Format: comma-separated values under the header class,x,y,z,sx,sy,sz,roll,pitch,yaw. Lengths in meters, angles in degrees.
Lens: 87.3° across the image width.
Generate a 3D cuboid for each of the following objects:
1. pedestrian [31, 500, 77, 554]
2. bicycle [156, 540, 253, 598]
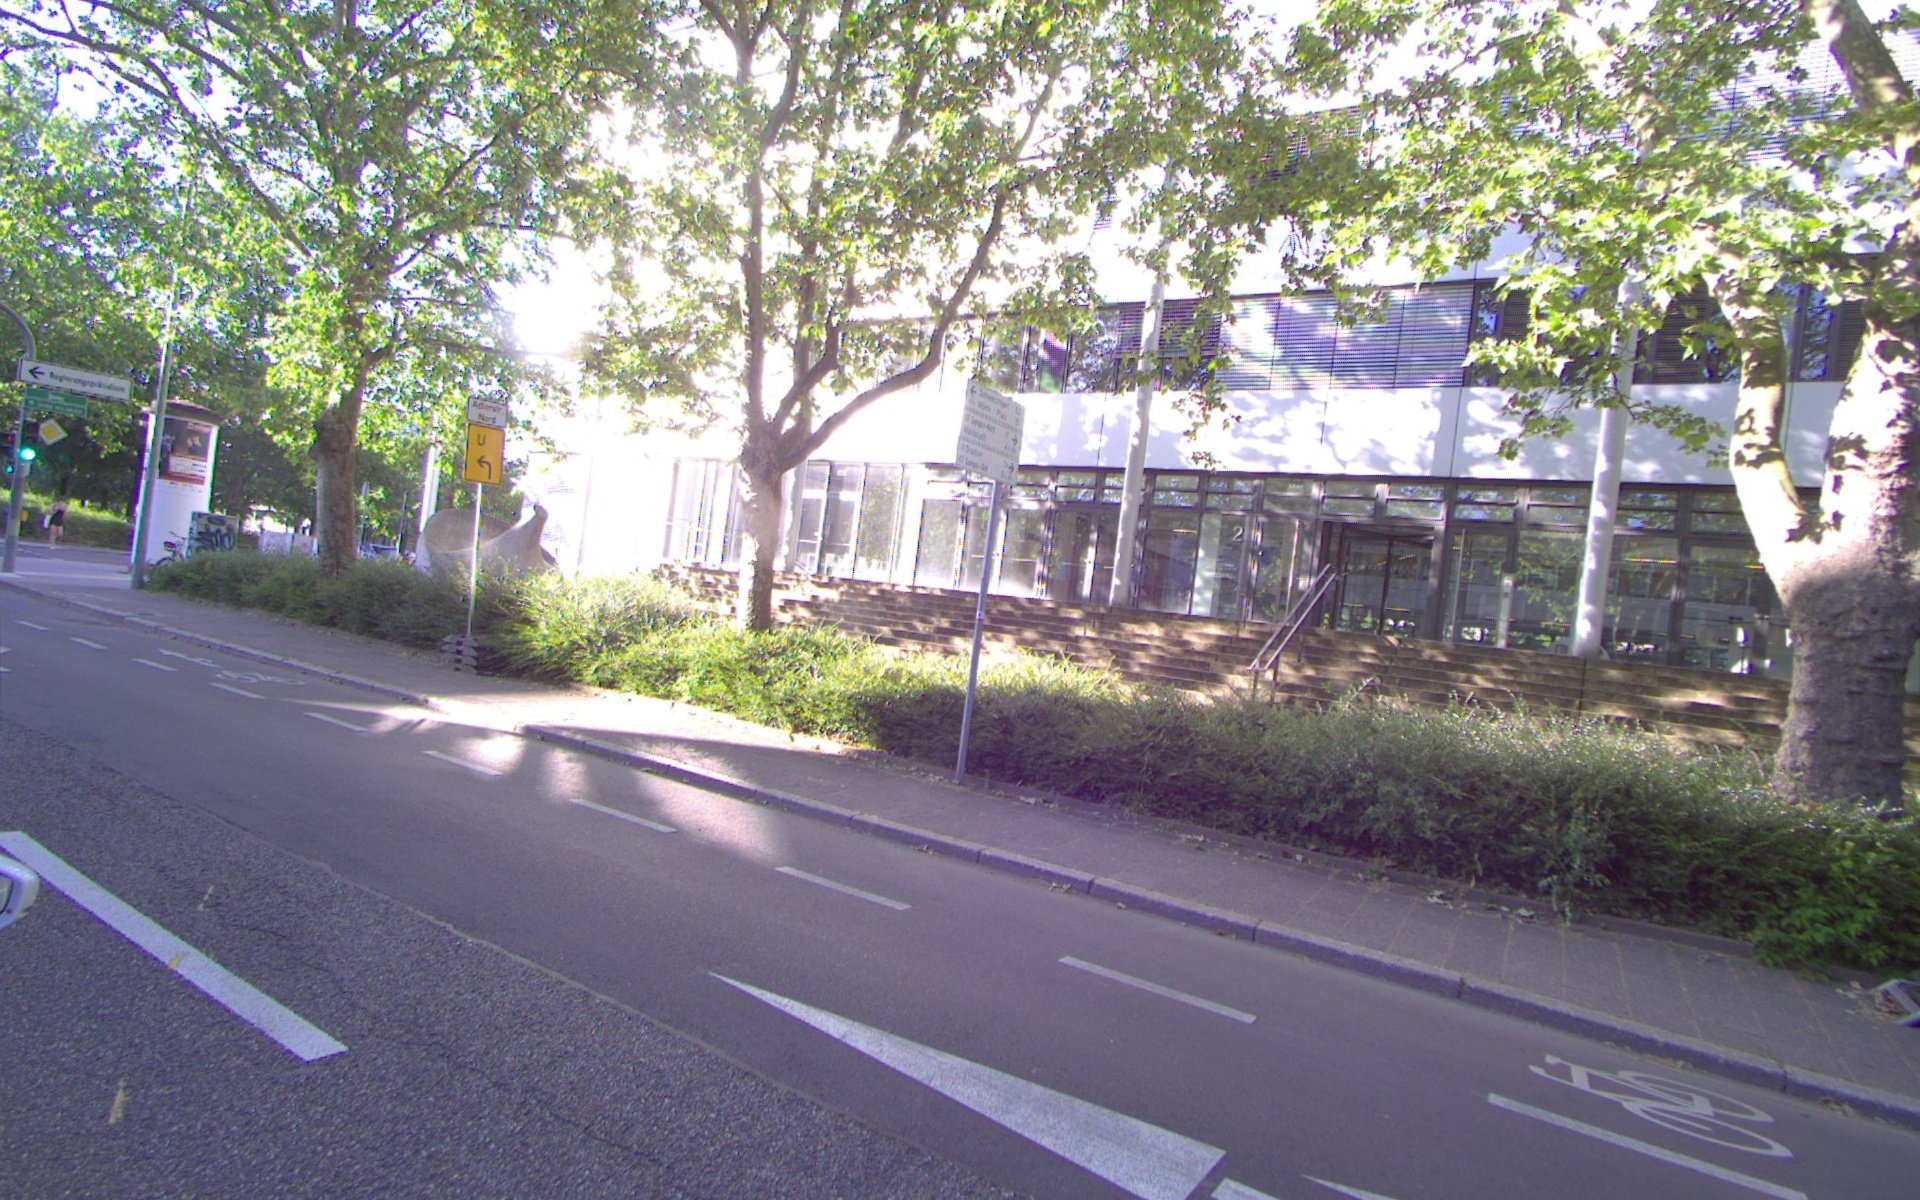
class,x,y,z,sx,sy,sz,roll,pitch,yaw
pedestrian,-28.553,-2.298,31.699,0.894,1.563,0.637,7,-1,26
bicycle,-15.912,-0.632,21.251,0.631,1.040,1.887,7,-2,-5
